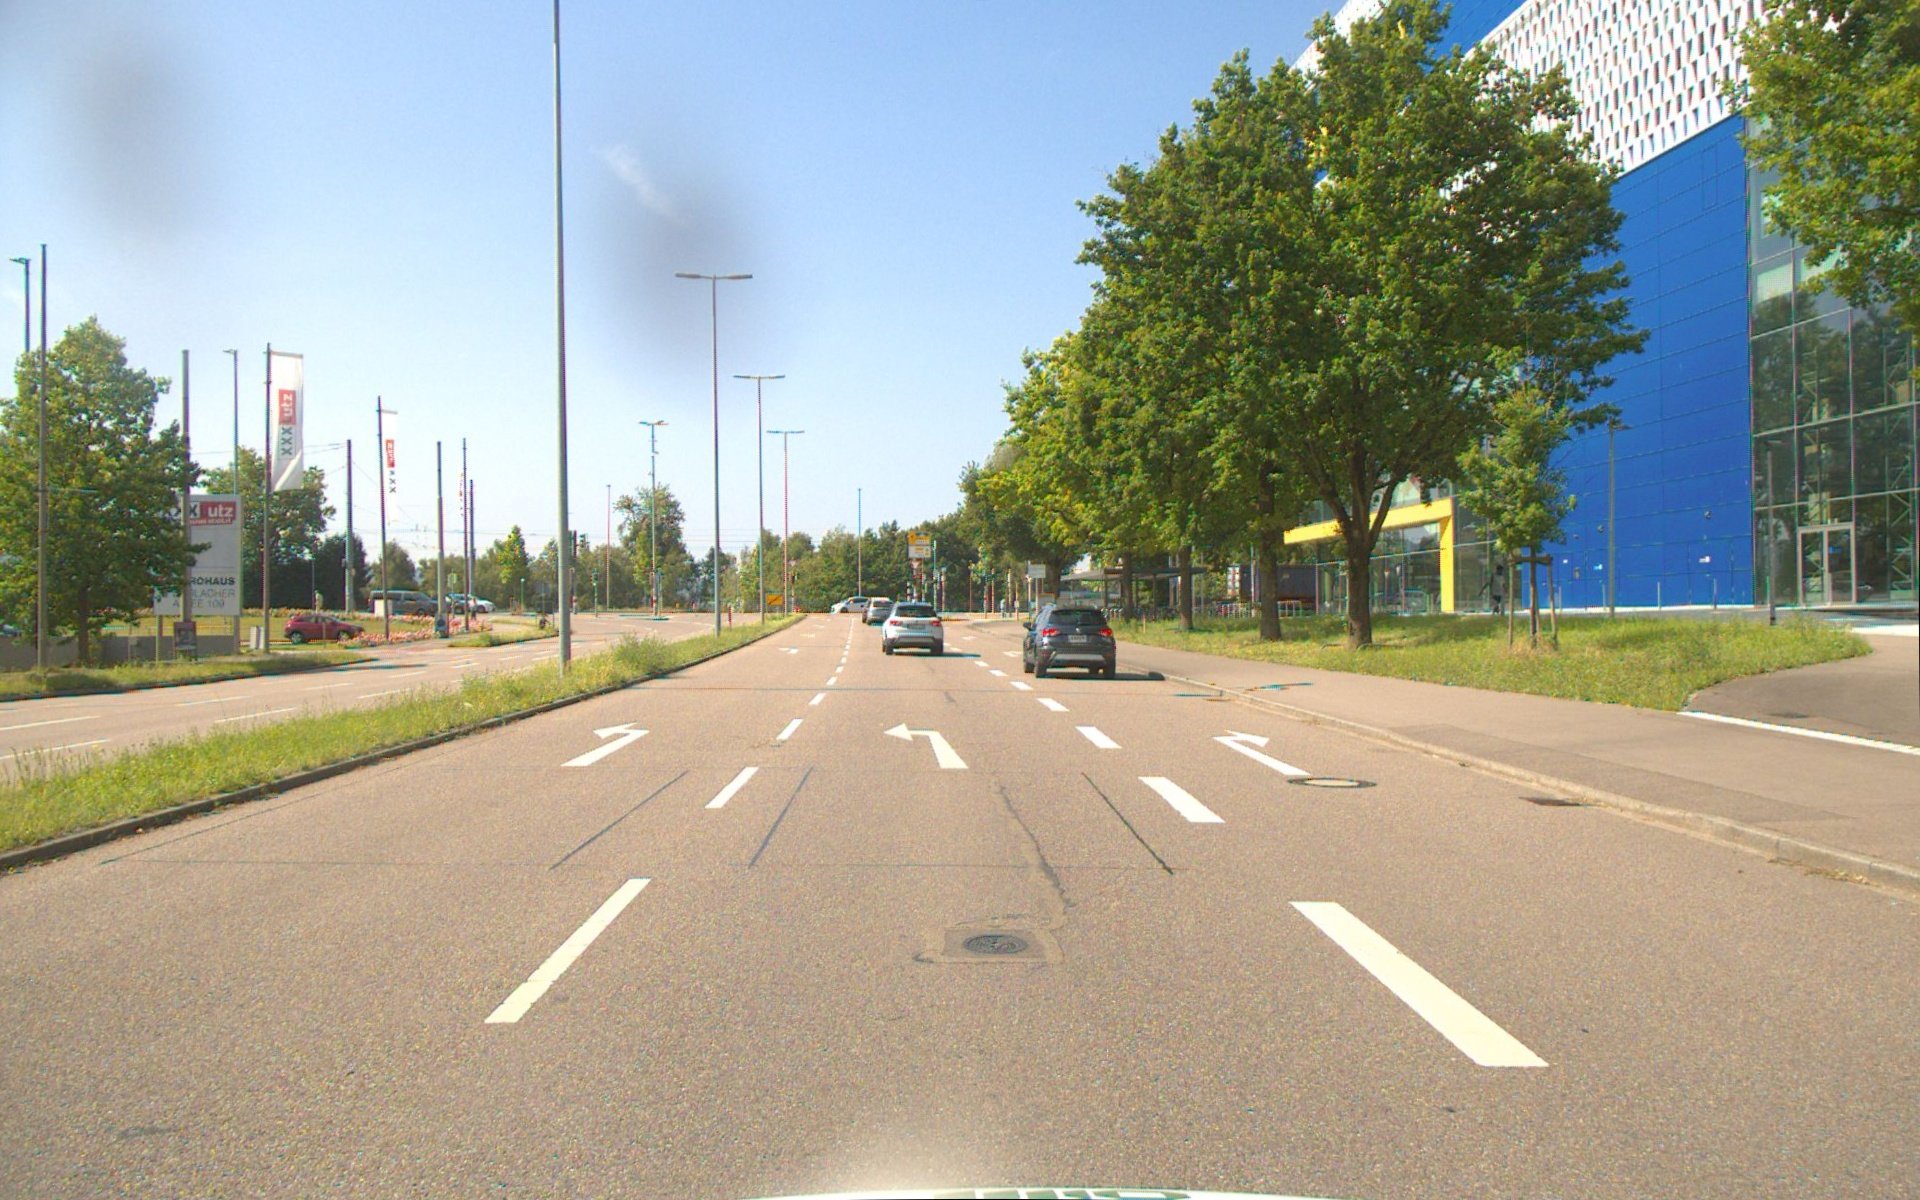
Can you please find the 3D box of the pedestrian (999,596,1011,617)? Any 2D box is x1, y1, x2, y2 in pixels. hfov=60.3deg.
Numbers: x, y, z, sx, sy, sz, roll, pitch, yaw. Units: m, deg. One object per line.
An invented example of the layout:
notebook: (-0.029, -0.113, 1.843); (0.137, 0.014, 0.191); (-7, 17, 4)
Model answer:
pedestrian: (3.375, 0.455, 124.455); (0.756, 1.537, 1.008); (-1, 1, 7)

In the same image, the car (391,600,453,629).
car: (-38.946, 1.022, 119.773); (3.903, 1.959, 1.817); (1, 1, 18)

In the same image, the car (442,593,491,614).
car: (-37.715, 0.275, 126.425); (3.320, 1.526, 1.408); (-1, -2, -6)

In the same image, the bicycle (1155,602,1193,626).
bicycle: (10.319, 0.690, 79.726); (1.723, 1.115, 0.452); (-1, 0, -4)

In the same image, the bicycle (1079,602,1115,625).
bicycle: (6.895, 0.684, 83.397); (1.723, 1.115, 0.452); (-1, 0, -4)

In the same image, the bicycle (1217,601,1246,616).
bicycle: (15.025, 0.467, 91.632); (1.530, 0.858, 0.433); (-1, 0, -2)

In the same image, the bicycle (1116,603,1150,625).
bicycle: (9.231, 0.727, 88.189); (1.723, 1.115, 0.452); (-1, 0, -4)

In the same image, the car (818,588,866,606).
car: (-10.636, -0.272, 148.937); (4.021, 1.574, 1.786); (0, -1, -25)

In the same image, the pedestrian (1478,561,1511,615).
pedestrian: (16.441, -0.371, 50.872); (0.675, 1.640, 0.770); (-2, 0, -7)

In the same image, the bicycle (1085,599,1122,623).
bicycle: (6.911, 0.518, 79.766); (1.723, 1.115, 0.452); (-1, 0, -4)

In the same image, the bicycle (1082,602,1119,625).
bicycle: (6.856, 0.652, 80.687); (1.723, 1.115, 0.452); (-1, 0, -4)

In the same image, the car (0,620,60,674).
car: (-34.471, 1.669, 58.330); (4.326, 1.875, 1.944); (-1, -1, -5)

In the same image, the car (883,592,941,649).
car: (-1.459, 0.574, 49.511); (1.599, 1.524, 3.867); (0, 2, -4)

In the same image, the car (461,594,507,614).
car: (-37.581, 0.351, 130.567); (3.280, 1.526, 1.407); (0, -2, -8)

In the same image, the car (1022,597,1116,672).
car: (2.305, 0.711, 35.621); (1.636, 1.550, 3.375); (0, 0, -3)

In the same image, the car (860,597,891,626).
car: (-5.037, 0.657, 97.978); (1.673, 1.600, 4.170); (-1, 0, -5)

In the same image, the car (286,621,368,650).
car: (-36.444, 2.039, 95.269); (4.105, 1.634, 1.823); (0, -2, -9)

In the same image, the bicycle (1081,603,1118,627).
bicycle: (6.858, 0.740, 81.234); (1.723, 1.115, 0.452); (-1, 0, -4)

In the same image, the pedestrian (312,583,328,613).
pedestrian: (-43.543, -0.131, 112.529); (0.701, 2.007, 0.918); (-1, -2, 1)

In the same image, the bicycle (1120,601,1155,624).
bicycle: (9.233, 0.649, 86.058); (1.723, 1.115, 0.452); (-1, 0, -4)

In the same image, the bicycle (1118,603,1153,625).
bicycle: (9.255, 0.741, 87.124); (1.792, 1.115, 0.452); (-1, 0, -4)
